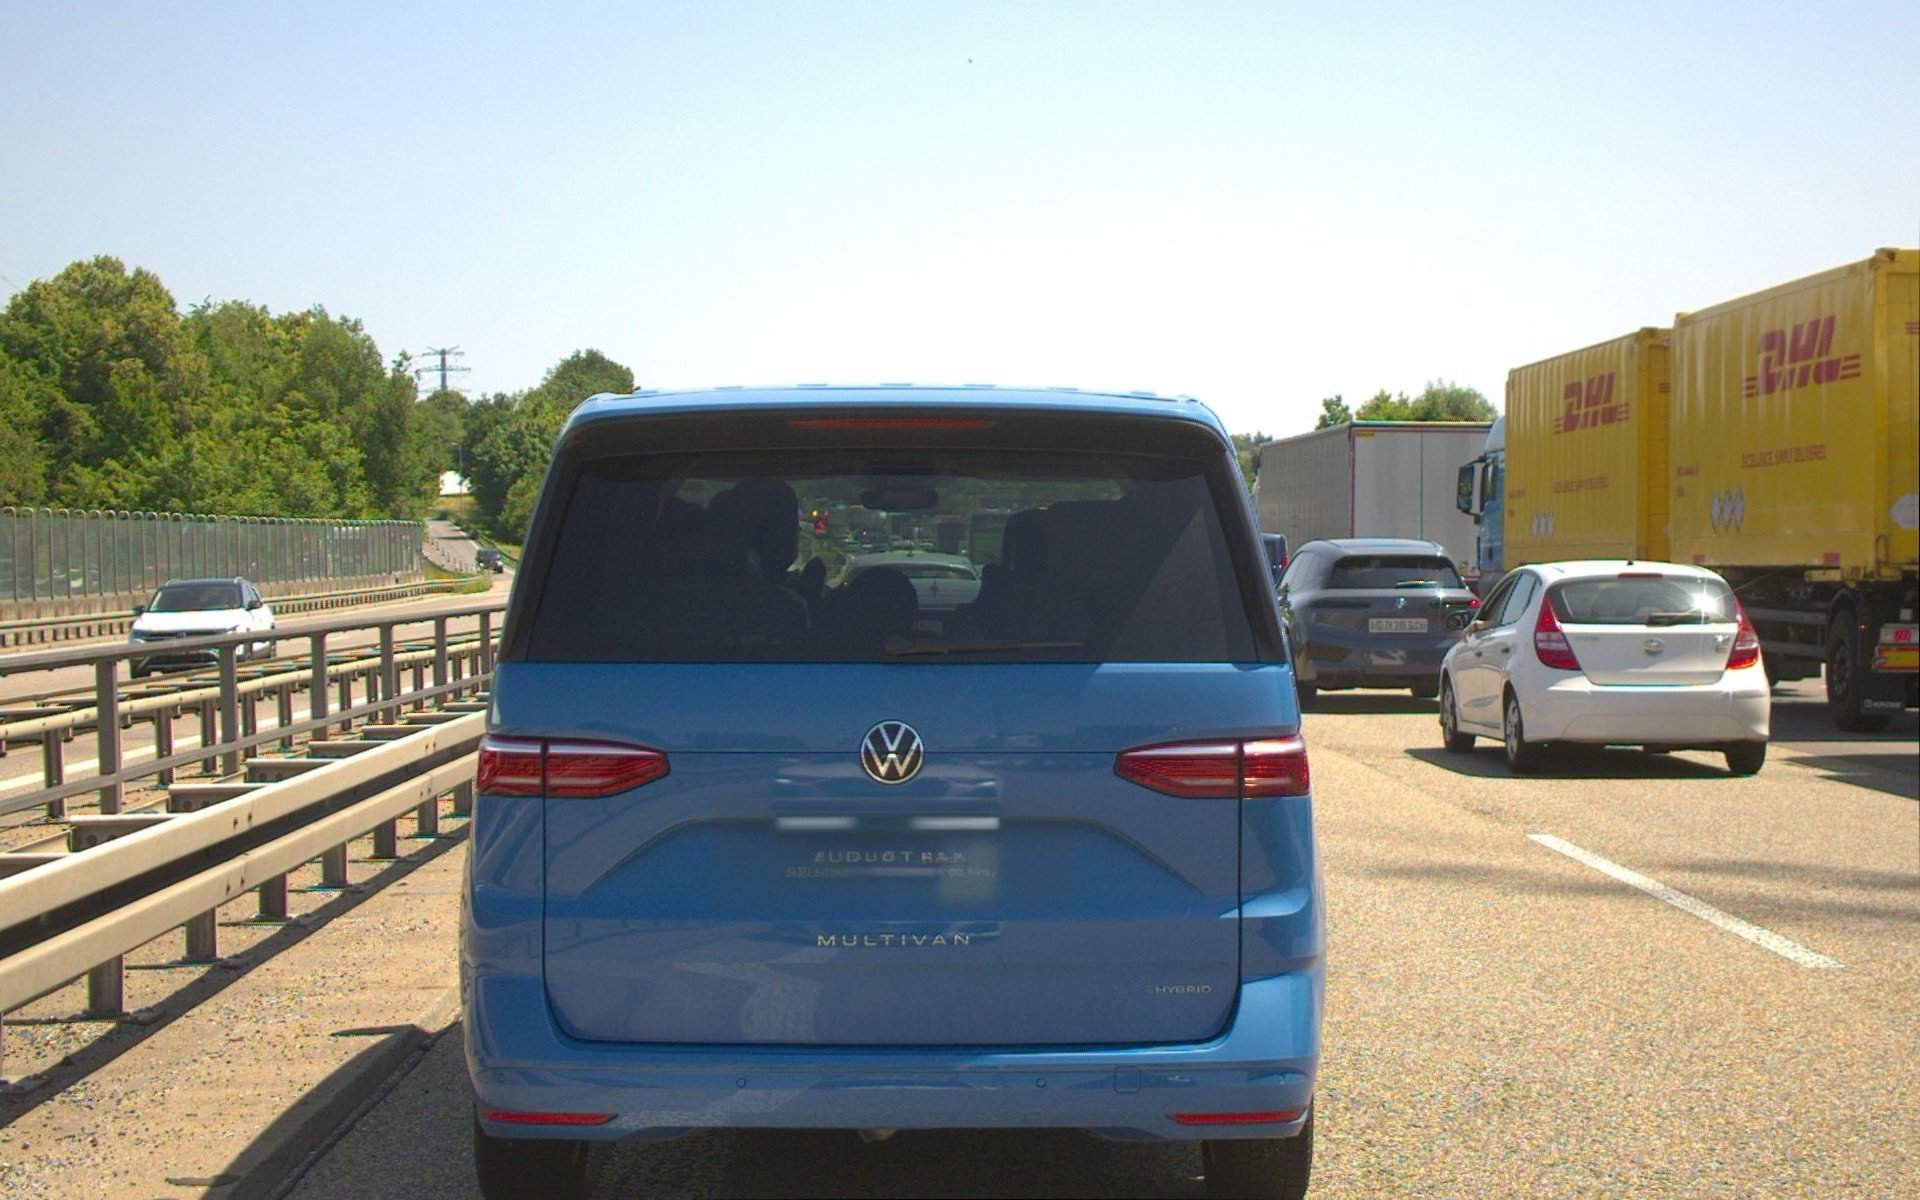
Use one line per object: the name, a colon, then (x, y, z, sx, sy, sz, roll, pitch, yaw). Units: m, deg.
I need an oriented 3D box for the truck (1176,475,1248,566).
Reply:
truck: (7.243, -2.268, 99.150, 1.742, 2.540, 4.210, 1, 0, 0)

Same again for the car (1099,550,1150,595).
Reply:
car: (6.507, -1.088, 136.283, 1.797, 1.745, 3.943, 1, 0, 0)

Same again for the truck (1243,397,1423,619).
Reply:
truck: (8.100, -1.932, 75.636, 3.026, 4.595, 7.921, 1, 0, 0)

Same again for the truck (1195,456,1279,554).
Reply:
truck: (7.256, -2.475, 90.355, 1.798, 2.441, 4.504, 1, 0, 0)

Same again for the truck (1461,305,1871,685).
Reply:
truck: (8.385, -1.160, 42.254, 2.699, 4.074, 9.940, 1, 0, -1)

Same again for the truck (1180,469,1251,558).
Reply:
truck: (7.732, -2.603, 104.396, 1.797, 2.587, 4.305, 1, 0, 0)

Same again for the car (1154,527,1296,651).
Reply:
car: (4.293, -0.185, 56.295, 1.962, 1.929, 3.932, 1, 0, 0)

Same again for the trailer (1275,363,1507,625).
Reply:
trailer: (8.111, -1.894, 66.207, 3.026, 4.595, 10.925, 1, 0, 0)

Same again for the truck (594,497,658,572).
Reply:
truck: (-19.965, -3.875, 205.934, 2.929, 4.279, 6.858, -3, 0, 1)

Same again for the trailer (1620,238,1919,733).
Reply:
trailer: (8.674, -0.946, 32.860, 2.682, 4.074, 8.981, 1, 0, -2)

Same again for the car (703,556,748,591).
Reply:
car: (-11.406, -1.299, 167.384, 1.871, 1.524, 3.609, -6, 1, -1)

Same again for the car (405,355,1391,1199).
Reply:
car: (-0.141, 0.452, 8.820, 1.930, 1.867, 4.000, 1, 0, 0)

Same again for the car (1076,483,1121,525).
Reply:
car: (6.116, -4.247, 151.965, 1.797, 1.745, 3.943, 1, 0, 0)

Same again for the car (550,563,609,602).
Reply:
car: (-14.965, -0.684, 135.339, 1.871, 1.437, 4.385, -2, 0, -1)

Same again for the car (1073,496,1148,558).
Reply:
car: (4.290, -2.078, 98.779, 1.919, 1.700, 4.000, 1, 0, -1)

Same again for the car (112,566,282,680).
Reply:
car: (-11.856, 0.340, 53.629, 1.806, 1.634, 4.000, -2, 0, -2)

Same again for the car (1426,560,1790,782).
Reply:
car: (4.611, 0.466, 25.001, 1.815, 1.465, 3.932, 1, 0, -1)

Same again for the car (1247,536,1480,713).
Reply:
car: (4.026, 0.226, 34.891, 1.815, 1.673, 3.932, 1, 0, -1)

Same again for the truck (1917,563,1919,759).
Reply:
truck: (8.827, -0.703, 20.923, 2.852, 3.921, 10.610, 1, 0, -1)

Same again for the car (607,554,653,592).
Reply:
car: (-15.956, -1.296, 166.534, 1.839, 1.816, 4.748, -1, 0, -1)
